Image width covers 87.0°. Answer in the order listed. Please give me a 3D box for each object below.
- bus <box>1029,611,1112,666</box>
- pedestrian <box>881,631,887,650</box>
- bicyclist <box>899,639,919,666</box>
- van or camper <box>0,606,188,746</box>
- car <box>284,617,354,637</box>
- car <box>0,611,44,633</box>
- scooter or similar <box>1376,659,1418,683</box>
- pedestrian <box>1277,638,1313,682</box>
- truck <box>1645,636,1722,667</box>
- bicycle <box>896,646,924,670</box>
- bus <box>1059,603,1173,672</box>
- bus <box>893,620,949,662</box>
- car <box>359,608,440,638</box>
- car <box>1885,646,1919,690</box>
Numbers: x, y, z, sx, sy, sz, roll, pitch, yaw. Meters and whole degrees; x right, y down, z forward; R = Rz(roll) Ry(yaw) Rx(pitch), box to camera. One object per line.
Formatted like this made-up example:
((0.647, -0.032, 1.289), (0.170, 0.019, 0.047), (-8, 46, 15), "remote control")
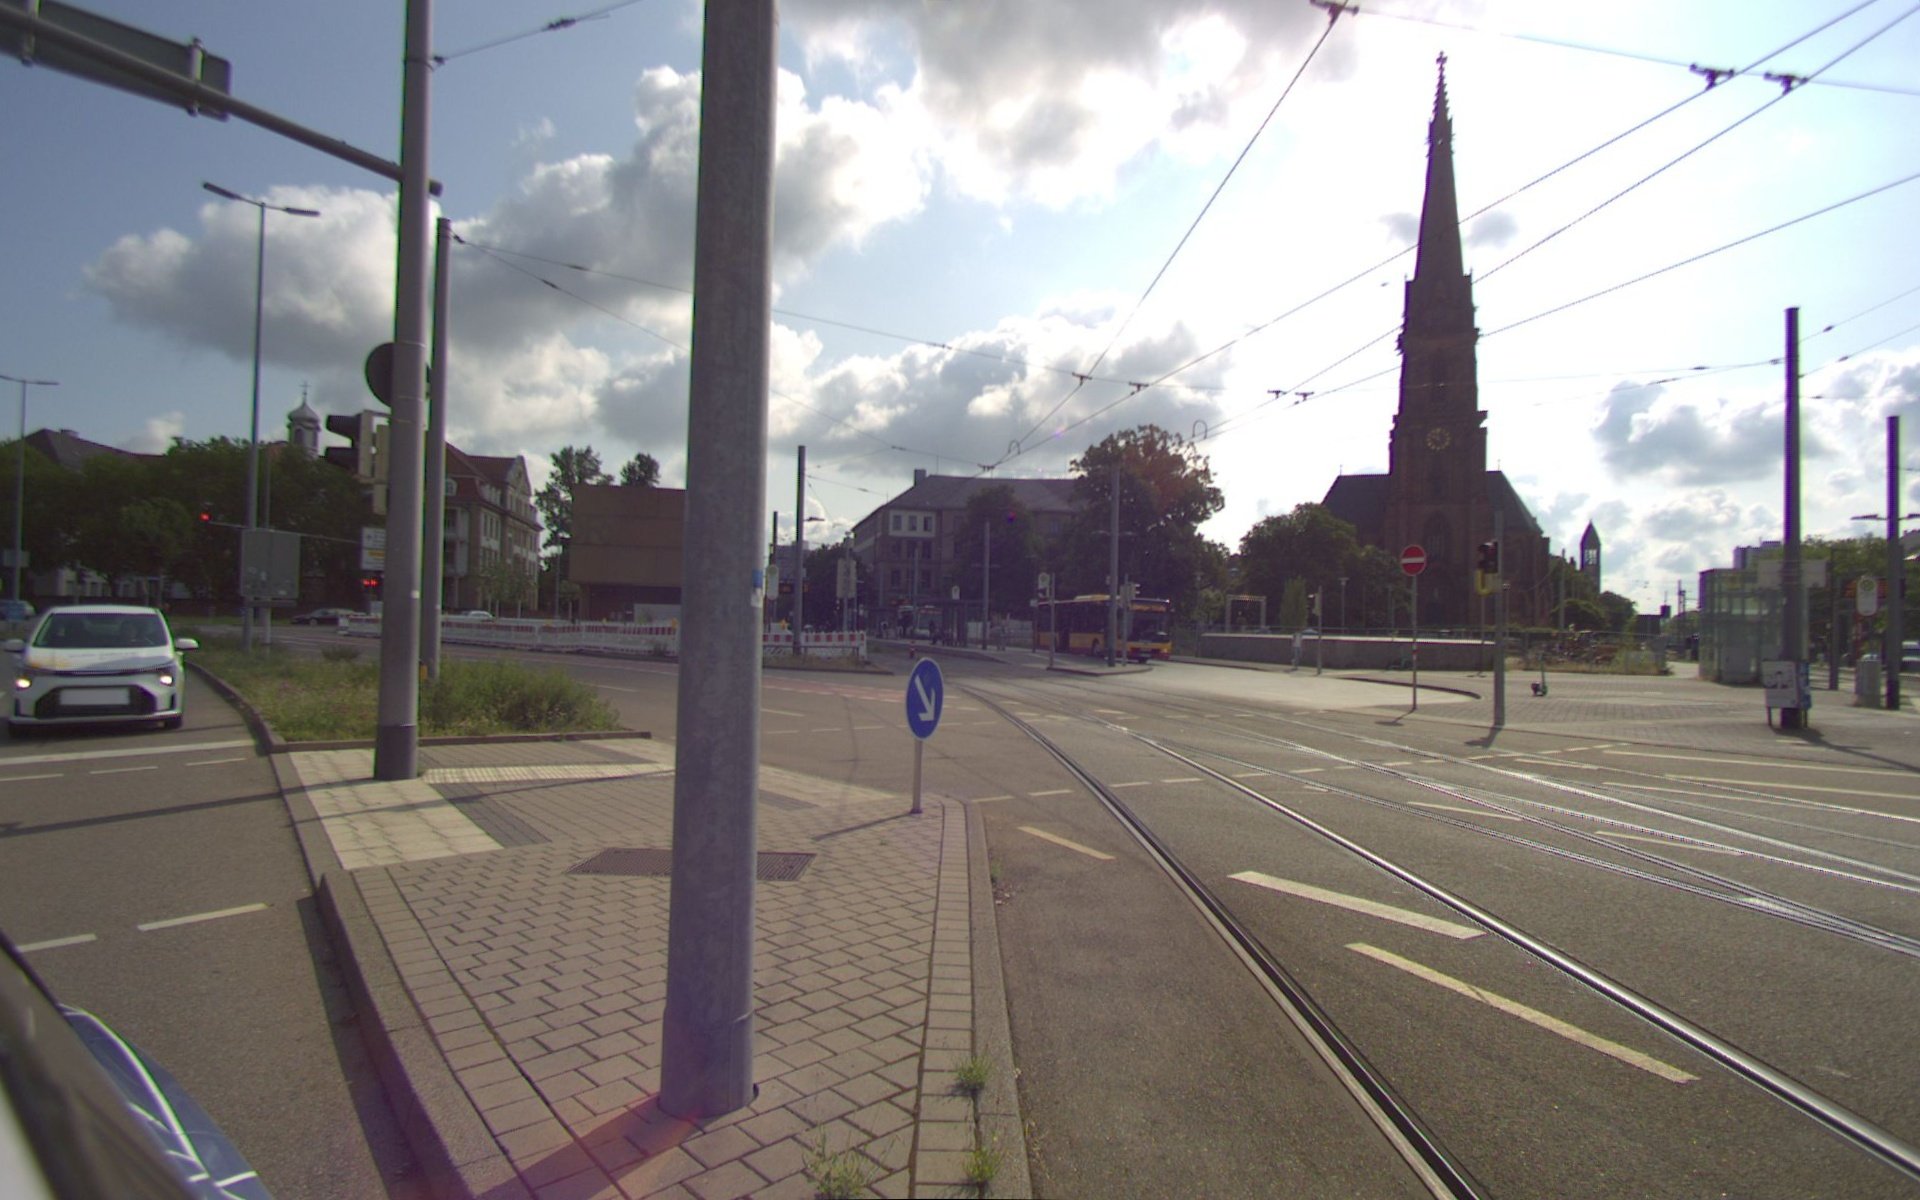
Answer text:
((5.592, 1.976, 51.873), (2.657, 2.607, 5.090), (2, -2, -13), "bus")
((-6.311, 3.358, 83.816), (0.352, 1.614, 0.365), (-1, -1, -17), "pedestrian")
((-2.265, 2.337, 44.908), (0.685, 1.161, 0.740), (-2, -2, -14), "bicyclist")
((-10.829, 0.862, 12.845), (1.602, 1.487, 4.008), (1, -2, -37), "van or camper")
((-47.260, 2.017, 74.720), (1.747, 1.401, 4.101), (1, -2, 21), "car")
((-69.767, 1.637, 73.892), (4.736, 1.581, 1.991), (-1, -2, 14), "car")
((18.476, 3.011, 42.766), (1.636, 0.957, 0.475), (2, -2, -11), "scooter or similar")
((14.375, 2.554, 43.449), (0.914, 1.701, 1.101), (-5, 3, -15), "pedestrian")
((89.706, 6.361, 125.639), (7.414, 3.676, 2.448), (0, -2, 28), "truck")
((-2.250, 2.572, 44.882), (0.799, 1.000, 2.075), (-2, -2, -14), "bicycle")
((6.911, 1.681, 45.902), (2.656, 2.855, 7.117), (2, -2, -12), "bus")
((-3.731, 3.659, 93.348), (2.916, 3.534, 12.284), (-1, -1, -12), "bus")
((-41.732, 1.722, 75.474), (1.988, 2.029, 5.032), (-2, 0, 25), "car")
((74.284, 5.273, 78.971), (1.994, 2.640, 5.520), (-6, 1, 33), "car")
